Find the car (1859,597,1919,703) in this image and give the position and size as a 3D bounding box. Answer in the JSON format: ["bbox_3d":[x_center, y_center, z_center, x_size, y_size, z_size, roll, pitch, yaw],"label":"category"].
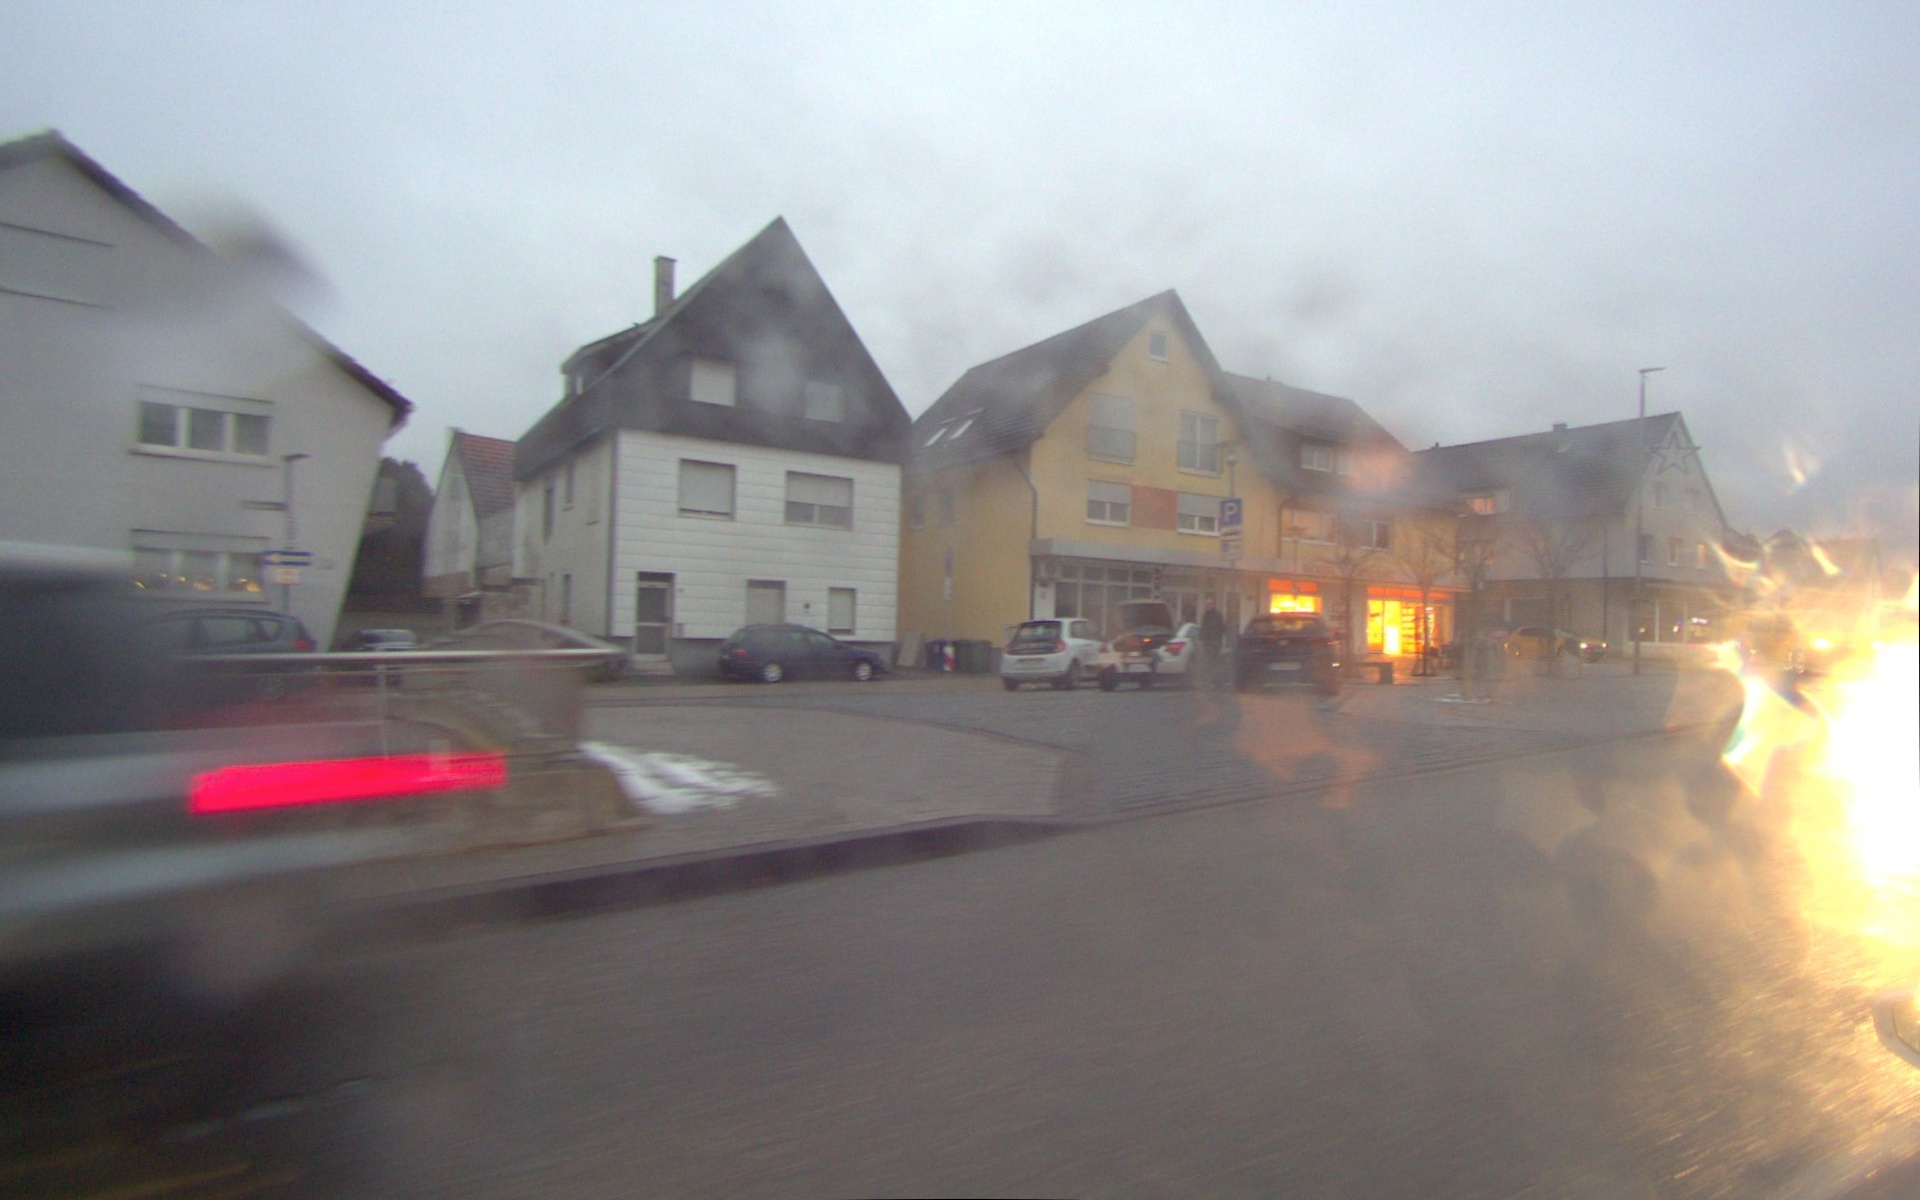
[{"bbox_3d":[18.248,0.929,18.828,1.697,1.837,4.121,1,-1,37],"label":"car"}]

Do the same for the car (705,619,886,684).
[{"bbox_3d":[-4.373,1.317,26.901,4.376,1.520,1.900,1,2,-33],"label":"car"}]

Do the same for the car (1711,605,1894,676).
[{"bbox_3d":[26.412,1.209,31.752,1.960,2.040,4.902,1,0,5],"label":"car"}]

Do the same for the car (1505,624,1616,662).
[{"bbox_3d":[25.135,1.768,42.192,1.689,1.440,3.824,3,-2,-19],"label":"car"}]

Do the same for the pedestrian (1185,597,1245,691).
[{"bbox_3d":[4.849,0.830,19.136,0.831,1.734,0.719,0,-2,-28],"label":"pedestrian"}]

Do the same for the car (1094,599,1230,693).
[{"bbox_3d":[4.191,0.915,20.391,1.806,1.692,3.894,-2,-2,25],"label":"car"}]

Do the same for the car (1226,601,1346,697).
[{"bbox_3d":[6.226,0.872,18.894,1.877,1.551,4.180,1,-1,21],"label":"car"}]

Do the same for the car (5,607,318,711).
[{"bbox_3d":[-13.623,0.967,17.439,4.056,1.590,1.762,2,-1,-37],"label":"car"}]

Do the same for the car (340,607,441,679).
[{"bbox_3d":[-14.769,1.162,25.961,1.703,1.704,3.958,4,-5,-37],"label":"car"}]

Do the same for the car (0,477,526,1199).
[{"bbox_3d":[-3.111,0.578,1.910,3.919,1.643,1.766,1,0,-36],"label":"car"}]

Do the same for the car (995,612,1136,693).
[{"bbox_3d":[2.480,1.155,22.731,1.733,1.652,3.993,-2,-2,29],"label":"car"}]
